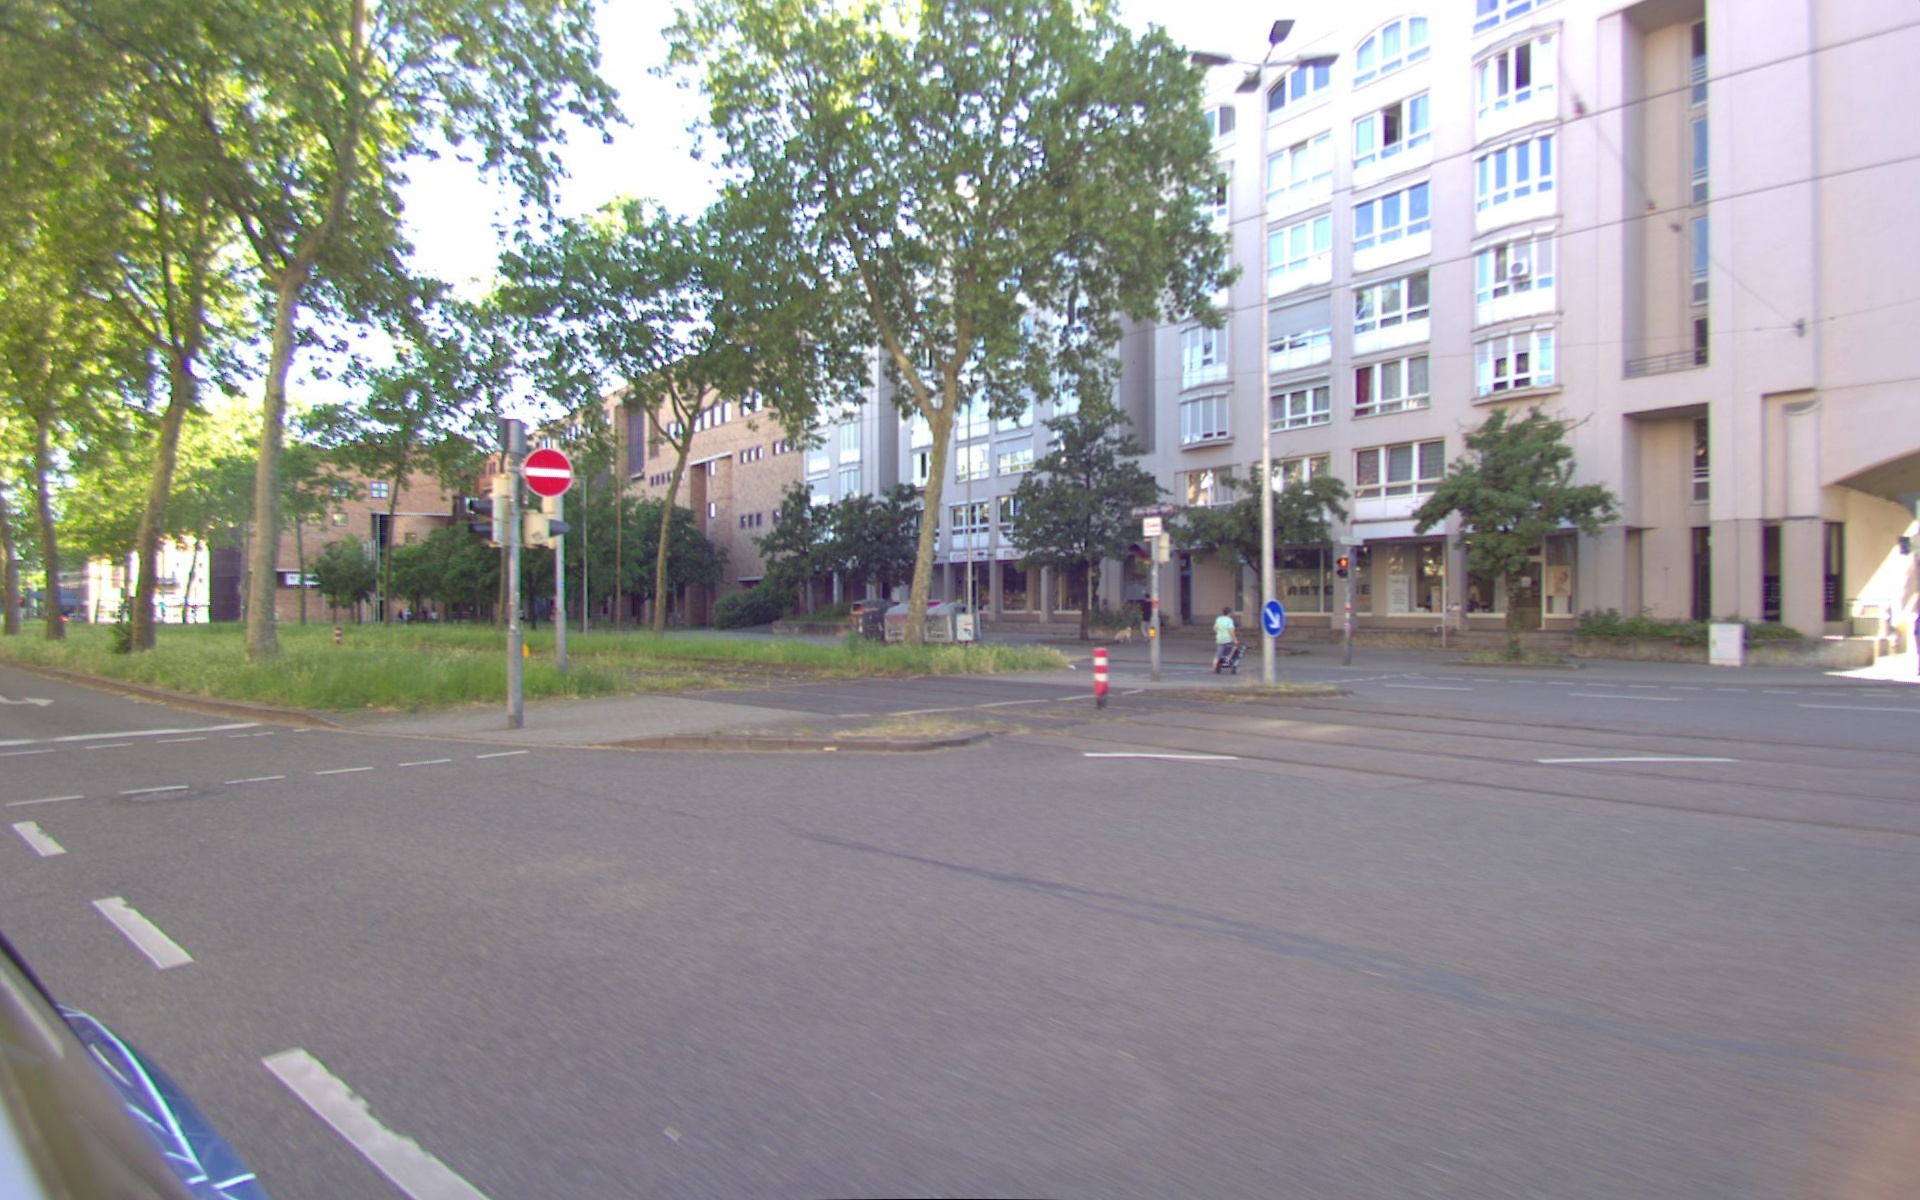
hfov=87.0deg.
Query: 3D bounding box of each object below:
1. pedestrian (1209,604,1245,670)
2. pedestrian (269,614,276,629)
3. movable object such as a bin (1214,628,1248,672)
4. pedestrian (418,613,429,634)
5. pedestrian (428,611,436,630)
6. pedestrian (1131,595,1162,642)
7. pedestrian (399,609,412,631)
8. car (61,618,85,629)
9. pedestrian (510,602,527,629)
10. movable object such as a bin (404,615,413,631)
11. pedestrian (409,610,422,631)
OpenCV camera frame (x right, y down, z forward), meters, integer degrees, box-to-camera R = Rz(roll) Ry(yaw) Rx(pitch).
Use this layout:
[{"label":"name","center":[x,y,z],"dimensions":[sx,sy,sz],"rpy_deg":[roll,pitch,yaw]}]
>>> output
[{"label":"pedestrian","center":[6.273,0.867,23.762],"dimensions":[0.610,1.515,0.536],"rpy_deg":[0,-1,-35]},{"label":"pedestrian","center":[-71.048,2.253,104.549],"dimensions":[0.651,1.555,0.413],"rpy_deg":[-1,-1,35]},{"label":"movable object such as a bin","center":[6.191,1.138,23.104],"dimensions":[0.503,0.960,0.541],"rpy_deg":[0,-1,-36]},{"label":"pedestrian","center":[-43.671,1.875,82.390],"dimensions":[0.596,1.692,0.604],"rpy_deg":[-1,-1,40]},{"label":"pedestrian","center":[-43.090,1.667,82.582],"dimensions":[0.463,1.517,0.478],"rpy_deg":[-1,-1,39]},{"label":"pedestrian","center":[6.574,0.642,35.640],"dimensions":[0.698,1.651,0.790],"rpy_deg":[0,-1,-38]},{"label":"pedestrian","center":[-44.611,1.629,81.387],"dimensions":[0.796,1.735,0.657],"rpy_deg":[-1,-1,40]},{"label":"car","center":[-111.678,2.949,127.412],"dimensions":[4.146,1.440,1.654],"rpy_deg":[-1,-1,40]},{"label":"pedestrian","center":[-30.957,1.104,70.950],"dimensions":[0.901,1.845,0.815],"rpy_deg":[-1,-1,42]},{"label":"movable object such as a bin","center":[-44.063,1.845,80.825],"dimensions":[0.756,1.289,0.352],"rpy_deg":[-1,-1,41]},{"label":"pedestrian","center":[-44.155,1.668,82.039],"dimensions":[0.756,1.629,0.657],"rpy_deg":[-1,-1,40]}]
